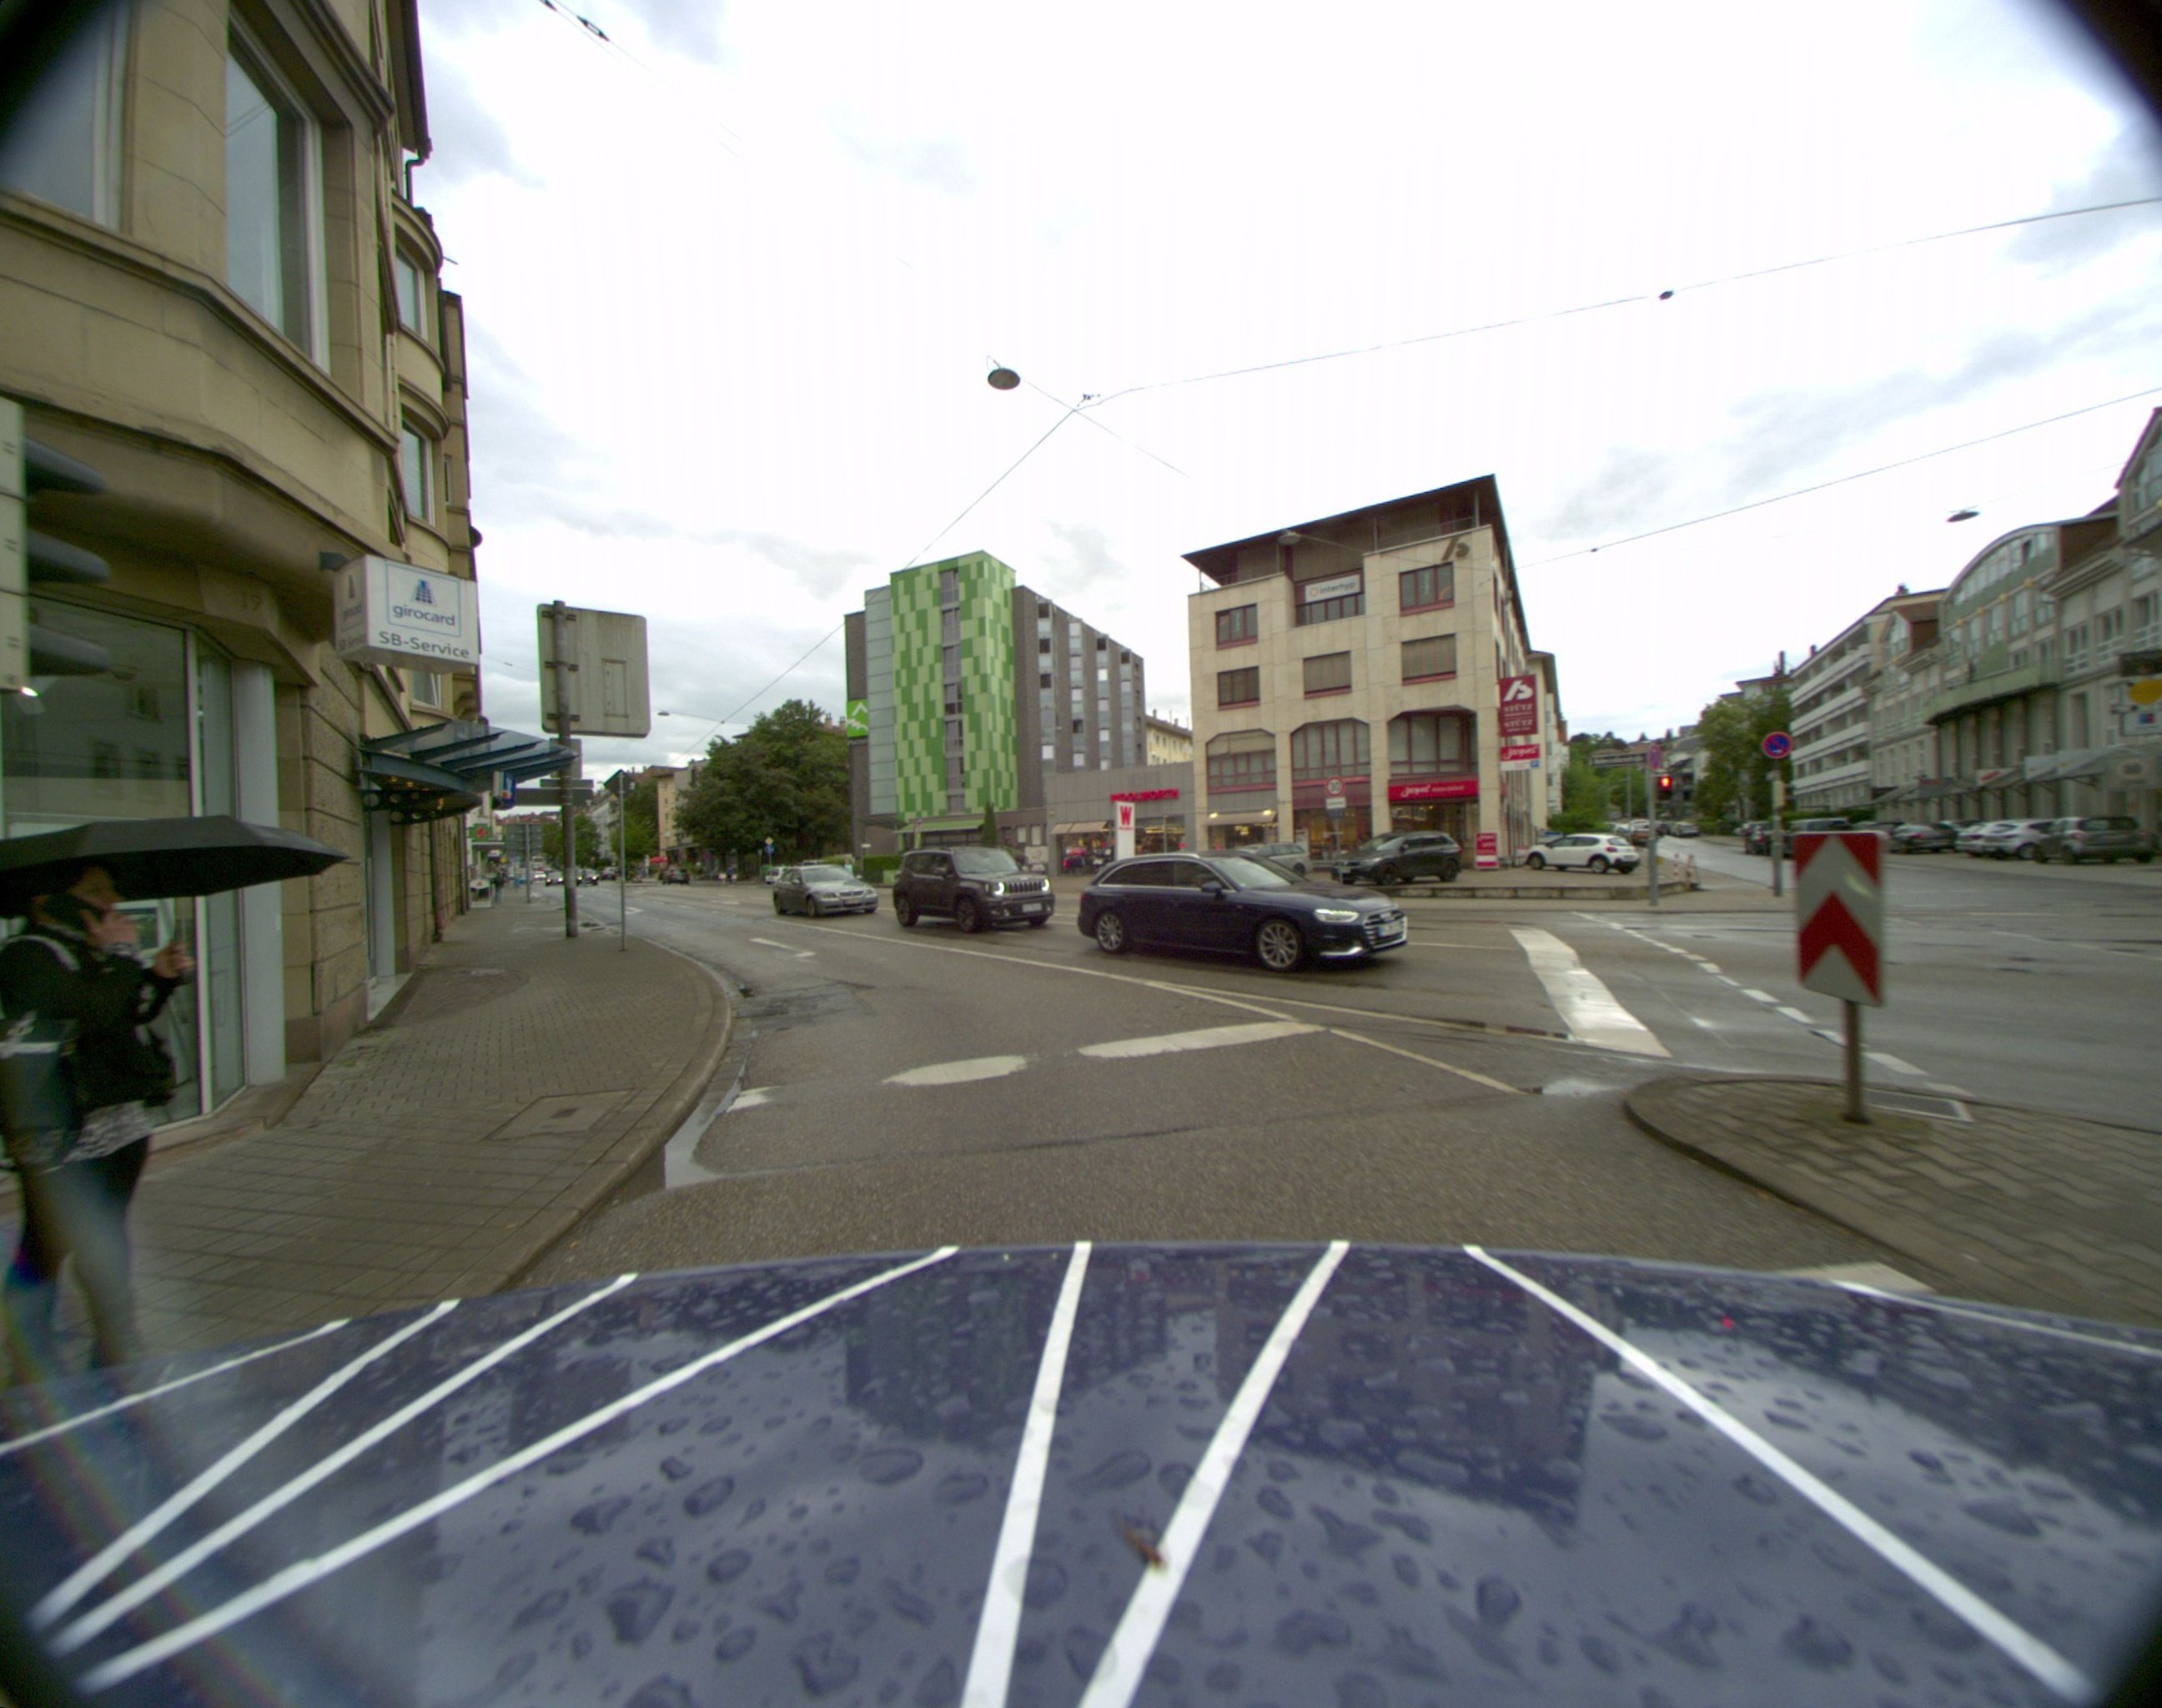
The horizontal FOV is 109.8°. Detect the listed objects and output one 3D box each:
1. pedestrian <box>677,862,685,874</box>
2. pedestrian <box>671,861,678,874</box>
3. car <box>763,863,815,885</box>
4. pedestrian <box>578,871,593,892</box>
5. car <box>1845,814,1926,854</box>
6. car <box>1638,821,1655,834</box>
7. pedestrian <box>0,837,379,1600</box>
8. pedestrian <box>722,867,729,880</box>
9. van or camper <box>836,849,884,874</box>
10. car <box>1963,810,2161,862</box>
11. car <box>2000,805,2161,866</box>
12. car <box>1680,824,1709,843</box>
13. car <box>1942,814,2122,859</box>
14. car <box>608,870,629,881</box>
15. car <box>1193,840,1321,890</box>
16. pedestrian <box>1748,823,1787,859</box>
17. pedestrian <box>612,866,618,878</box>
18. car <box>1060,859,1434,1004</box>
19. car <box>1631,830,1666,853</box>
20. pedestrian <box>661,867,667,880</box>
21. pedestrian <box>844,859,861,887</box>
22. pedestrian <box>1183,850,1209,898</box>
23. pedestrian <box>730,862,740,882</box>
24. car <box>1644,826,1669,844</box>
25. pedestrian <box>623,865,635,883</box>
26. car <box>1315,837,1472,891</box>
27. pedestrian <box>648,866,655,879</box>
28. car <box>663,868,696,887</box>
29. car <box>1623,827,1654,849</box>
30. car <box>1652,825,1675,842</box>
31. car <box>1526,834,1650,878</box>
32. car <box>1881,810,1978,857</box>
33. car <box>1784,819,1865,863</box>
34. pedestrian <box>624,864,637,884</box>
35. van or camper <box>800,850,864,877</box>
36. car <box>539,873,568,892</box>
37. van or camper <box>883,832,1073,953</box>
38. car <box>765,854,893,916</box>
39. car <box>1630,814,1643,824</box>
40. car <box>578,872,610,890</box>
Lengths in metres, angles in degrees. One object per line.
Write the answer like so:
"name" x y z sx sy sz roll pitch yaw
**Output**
"pedestrian" -55.135 1.946 104.776 0.713 1.669 0.799 -2 1 -10
"pedestrian" -56.362 1.881 105.323 0.717 1.669 0.711 -3 1 -38
"car" -24.222 1.633 63.169 1.736 1.560 3.595 -4 0 35
"pedestrian" -44.564 2.453 68.384 0.852 1.815 0.724 -2 1 30
"car" 42.837 -1.054 40.553 1.995 2.002 4.007 -2 0 32
"car" 91.919 -4.308 123.599 1.994 2.002 4.007 -1 1 33
"pedestrian" -3.050 0.922 2.286 1.062 1.893 1.023 -2 1 -27
"pedestrian" -32.285 1.740 69.042 0.411 1.191 0.310 -3 1 -44
"van or camper" -23.221 0.803 79.980 2.206 2.254 4.623 -3 2 24
"car" 35.808 -0.631 27.921 3.989 1.720 2.003 -2 1 29
"car" 32.632 -0.593 24.901 1.995 1.805 4.007 -1 1 31
"car" 68.211 -2.251 84.542 2.103 2.002 4.007 -1 1 34
"car" 37.169 -0.650 29.856 3.989 1.581 1.878 -2 1 30
"car" -67.729 3.169 111.276 2.024 1.417 4.488 -3 0 -38
"car" 6.400 0.365 27.432 4.467 1.518 1.881 -3 2 -33
"pedestrian" 35.602 -0.678 39.429 1.068 1.818 1.184 -2 1 -28
"pedestrian" -76.803 2.933 125.158 0.705 2.002 0.781 -3 3 -41
"car" 1.924 0.803 10.101 1.812 1.398 4.671 -3 2 -41
"car" 51.281 -1.127 68.762 1.995 2.002 4.007 -2 1 29
"pedestrian" -52.897 2.505 96.397 0.500 1.664 0.551 -3 2 -41
"pedestrian" -14.099 1.188 46.889 0.753 1.675 0.748 -1 0 8
"pedestrian" 3.779 0.652 24.926 0.507 1.521 0.764 -1 3 32
"pedestrian" -31.652 1.648 69.556 0.577 1.752 0.579 -3 1 -44
"car" 67.194 -2.260 88.795 2.103 2.002 4.007 -1 1 34
"pedestrian" -43.504 1.941 73.092 0.719 1.749 0.658 -1 1 34
"car" 9.751 0.270 23.697 4.437 1.497 1.950 -2 1 -23
"pedestrian" -62.764 2.716 111.051 0.868 1.809 0.592 -1 2 44
"car" -38.455 2.212 72.723 1.958 1.649 4.046 -3 1 -39
"car" 54.306 -1.539 74.079 1.995 2.002 4.007 -2 1 29
"car" 75.326 -2.668 98.333 1.995 2.002 4.007 -1 1 33
"car" 19.718 0.017 29.748 1.584 1.492 3.751 -2 3 -22
"car" 39.703 -0.948 35.675 1.995 2.002 4.007 -2 0 33
"car" 36.679 -0.625 37.599 1.995 2.002 4.007 -2 0 31
"pedestrian" -43.010 1.931 72.534 0.692 1.834 0.864 -1 1 38
"van or camper" -22.137 0.807 67.725 1.996 2.001 4.976 -8 -2 36
"car" -57.858 3.103 83.280 2.004 2.002 3.989 -3 0 -42
"van or camper" -2.240 0.703 15.648 1.864 2.134 4.131 -3 1 -40
"car" -7.212 0.898 21.457 1.808 1.455 4.360 -6 1 -41
"car" 119.070 -7.591 162.935 1.995 2.002 4.007 -1 1 33
"car" -47.931 2.632 74.827 1.859 1.646 4.197 -2 0 -22
